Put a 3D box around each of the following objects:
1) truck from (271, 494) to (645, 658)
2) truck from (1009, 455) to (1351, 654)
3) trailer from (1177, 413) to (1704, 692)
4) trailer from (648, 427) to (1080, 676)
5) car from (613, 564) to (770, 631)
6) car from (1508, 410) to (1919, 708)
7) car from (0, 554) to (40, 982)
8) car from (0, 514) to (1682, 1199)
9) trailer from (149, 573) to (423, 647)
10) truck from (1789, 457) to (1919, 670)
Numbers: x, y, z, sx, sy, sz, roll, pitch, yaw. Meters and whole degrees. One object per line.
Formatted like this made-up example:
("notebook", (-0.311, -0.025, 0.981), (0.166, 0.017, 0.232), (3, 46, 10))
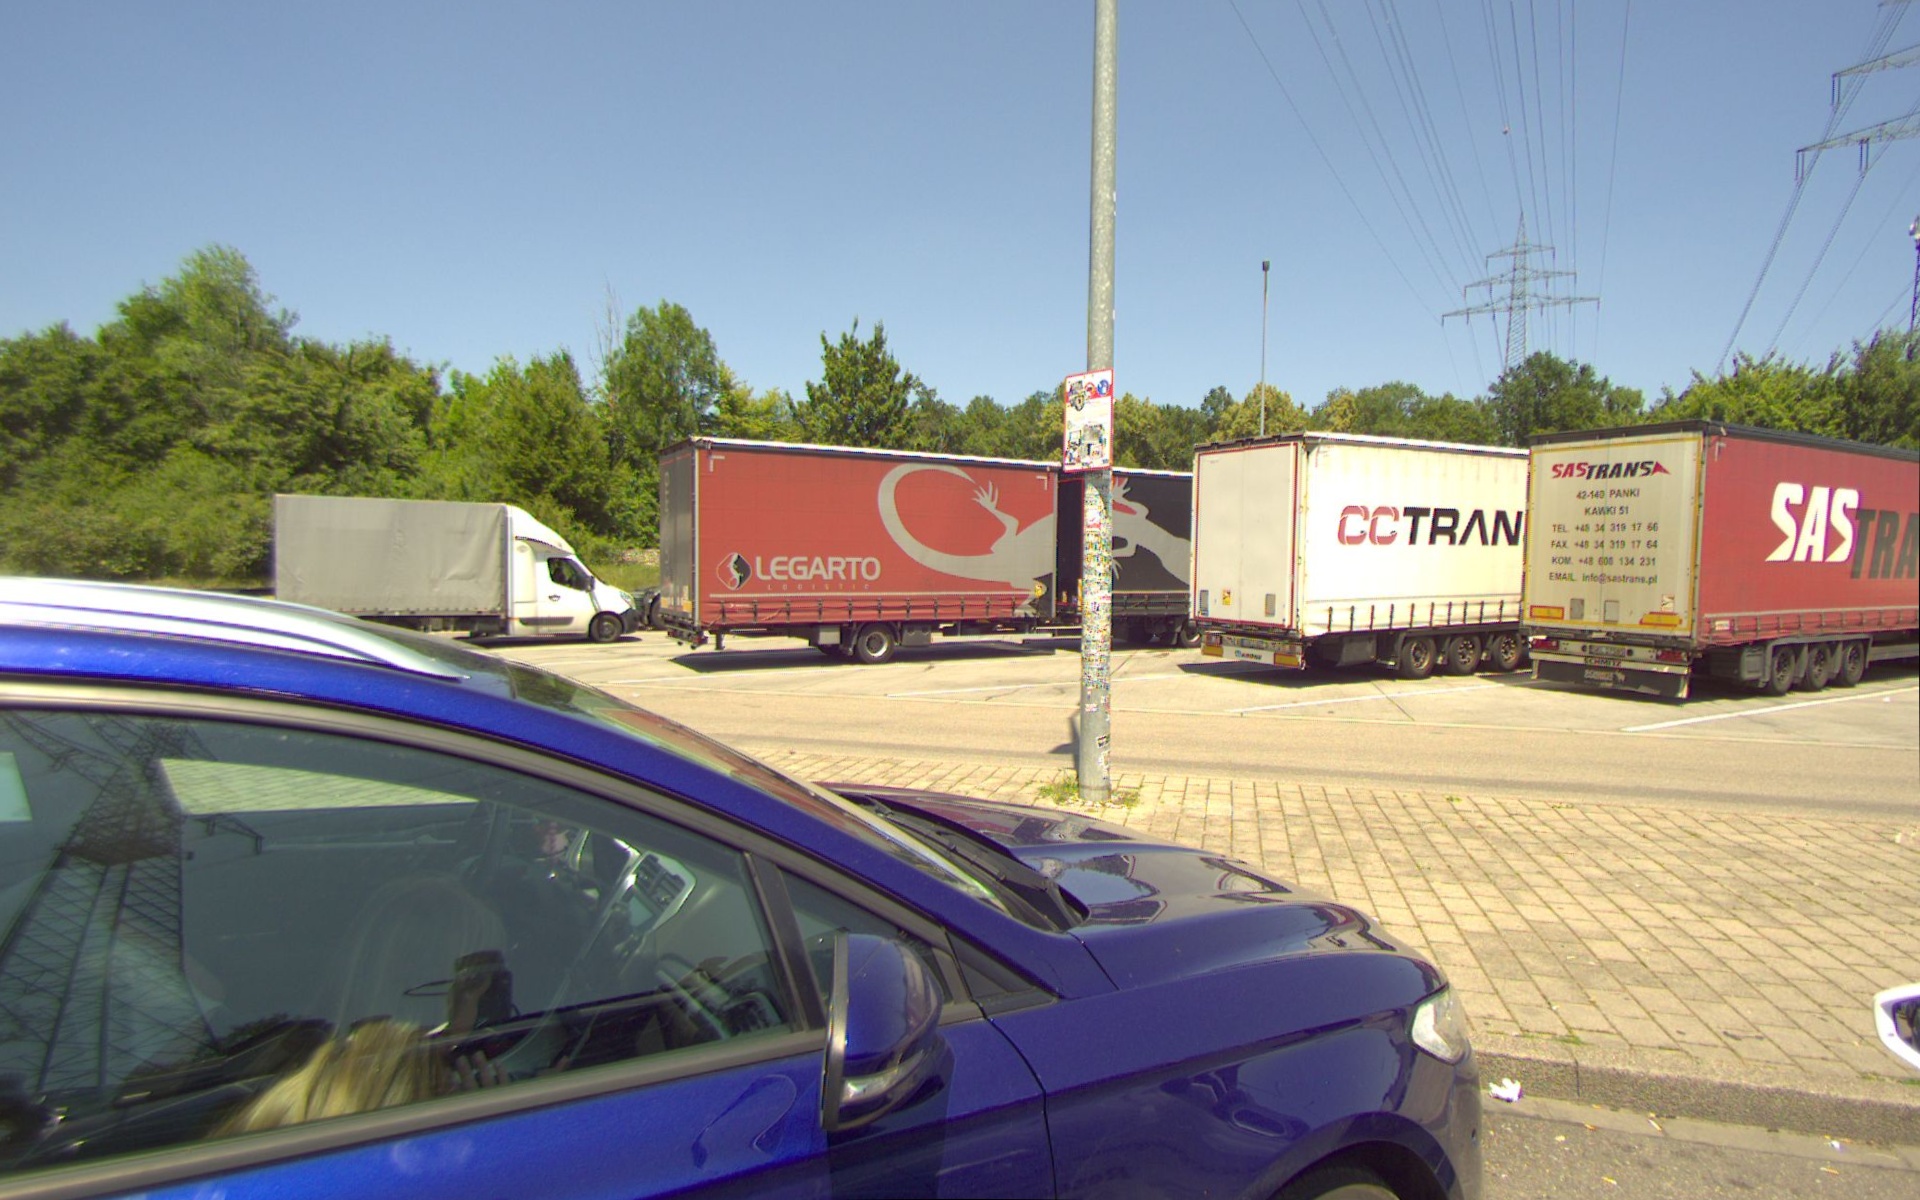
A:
("truck", (-11.120, -0.593, 22.865), (7.219, 3.277, 2.308), (-2, 3, -29))
("truck", (5.597, -1.082, 24.818), (8.683, 4.248, 2.800), (-1, 2, -30))
("trailer", (10.106, -0.883, 20.057), (12.786, 4.325, 2.800), (-1, 2, -31))
("trailer", (-1.749, -0.934, 20.495), (8.389, 4.248, 2.800), (-1, 2, -30))
("car", (-7.610, -0.055, 28.507), (3.953, 1.773, 1.902), (0, 0, -30))
("car", (15.211, -0.693, 18.444), (12.777, 4.169, 2.683), (-1, 3, -30))
("car", (-4.619, 0.555, 2.107), (3.700, 1.432, 1.595), (0, 0, -32))
("car", (-0.993, 0.670, 1.456), (4.380, 1.464, 1.771), (0, 0, -32))
("trailer", (-15.955, 0.232, 24.172), (5.332, 1.617, 1.585), (0, 0, -30))
("truck", (21.136, -0.773, 21.854), (6.163, 4.169, 2.683), (-1, 3, -30))
